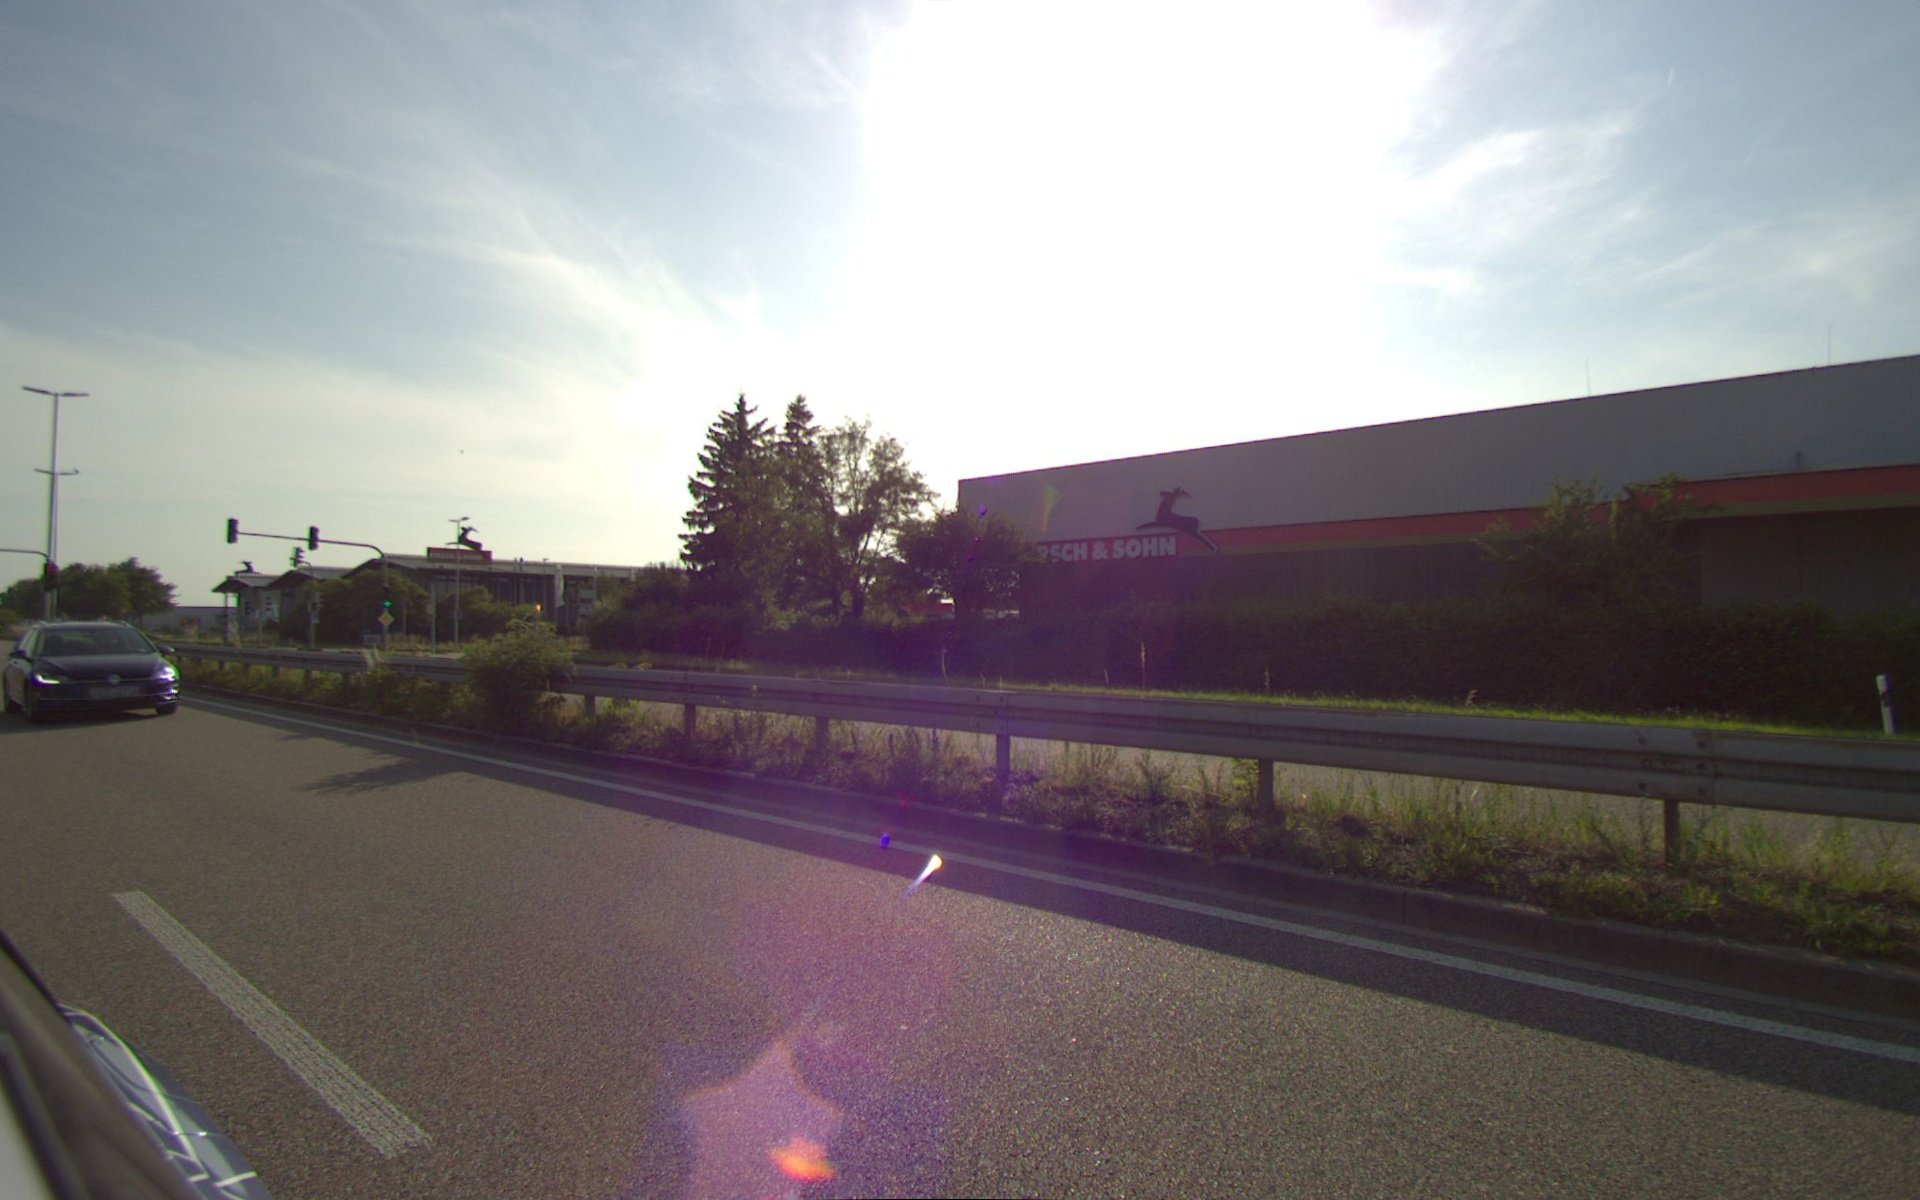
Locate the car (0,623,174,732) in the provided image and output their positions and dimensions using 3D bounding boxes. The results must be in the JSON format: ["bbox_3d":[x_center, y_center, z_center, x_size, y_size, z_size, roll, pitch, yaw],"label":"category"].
[{"bbox_3d":[-14.090,1.136,16.135,4.774,1.482,1.629,-2,-2,42],"label":"car"}]
